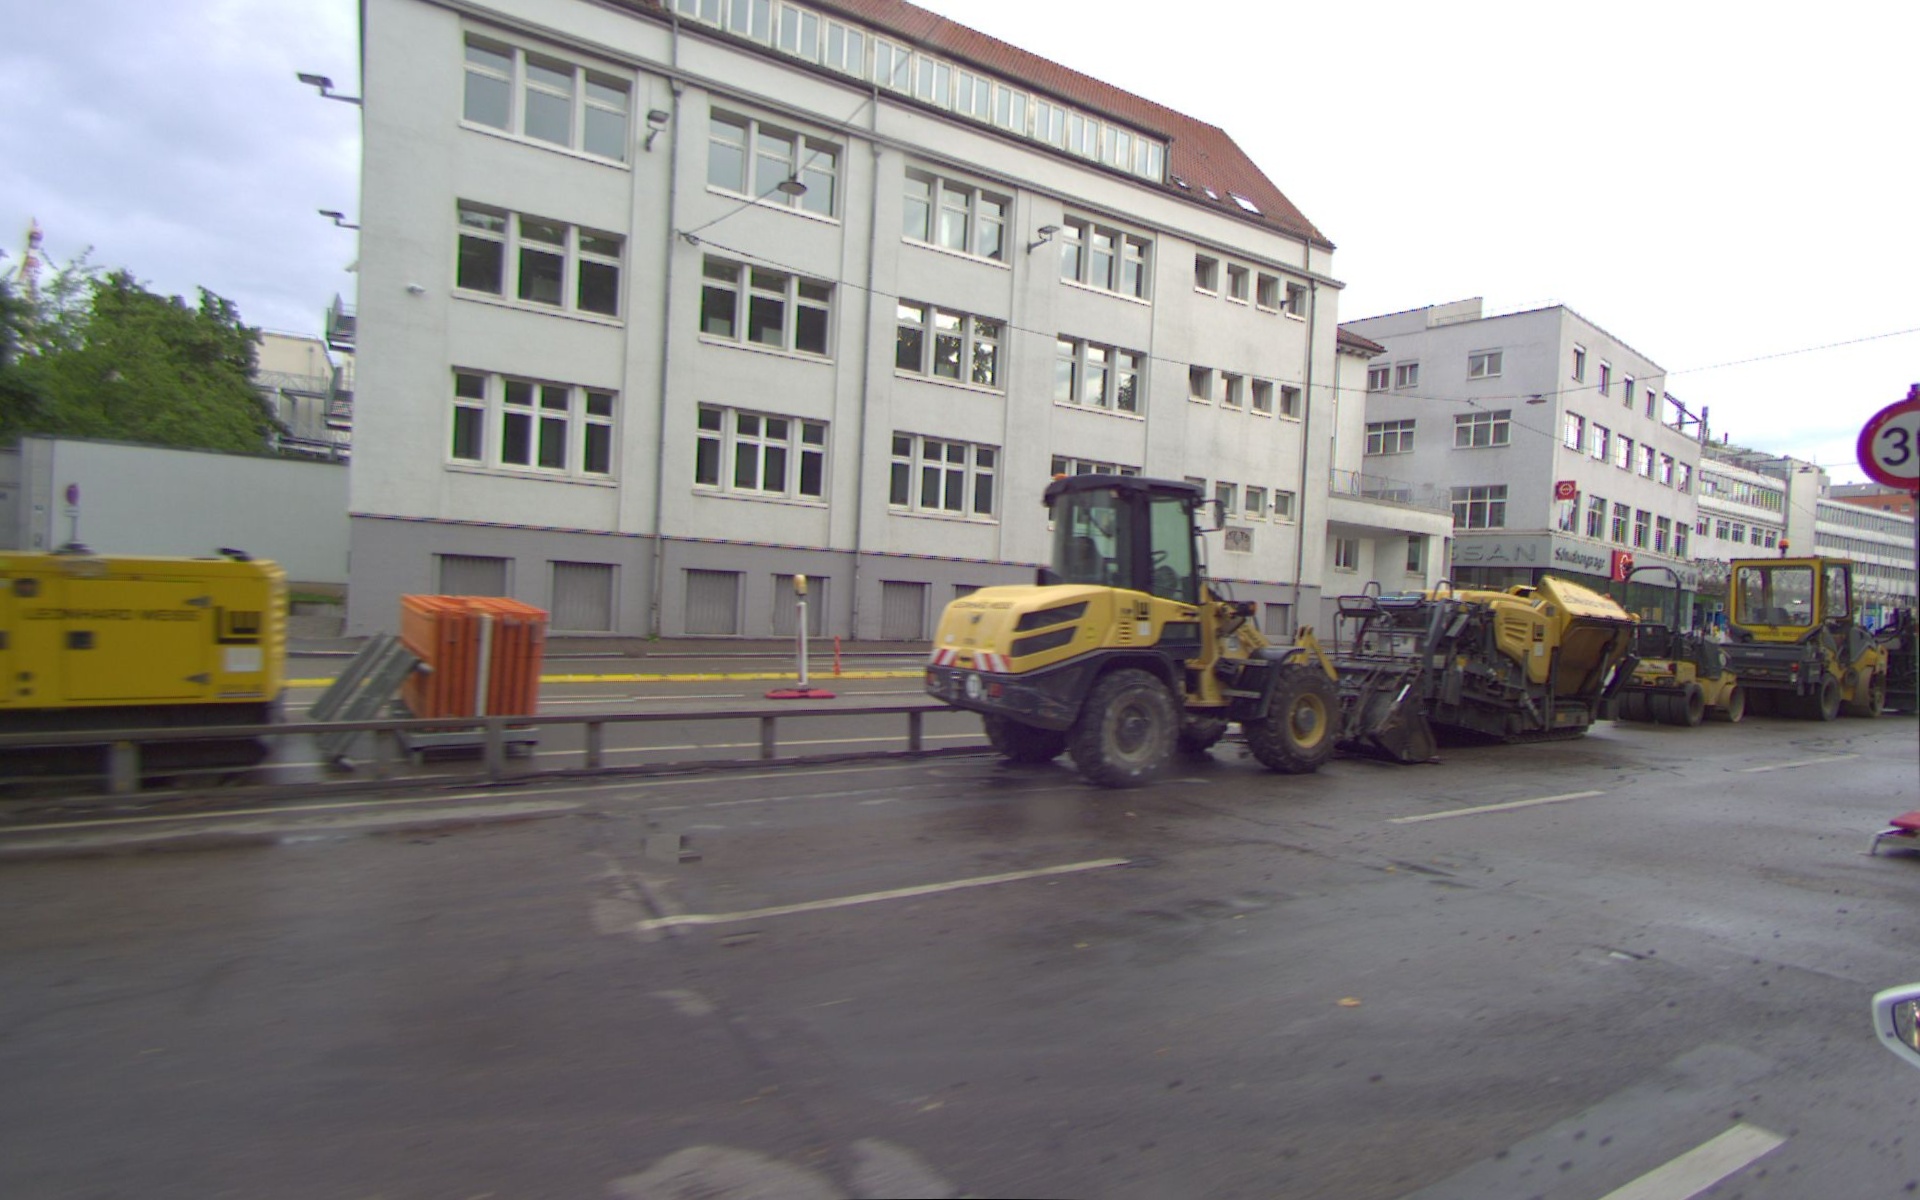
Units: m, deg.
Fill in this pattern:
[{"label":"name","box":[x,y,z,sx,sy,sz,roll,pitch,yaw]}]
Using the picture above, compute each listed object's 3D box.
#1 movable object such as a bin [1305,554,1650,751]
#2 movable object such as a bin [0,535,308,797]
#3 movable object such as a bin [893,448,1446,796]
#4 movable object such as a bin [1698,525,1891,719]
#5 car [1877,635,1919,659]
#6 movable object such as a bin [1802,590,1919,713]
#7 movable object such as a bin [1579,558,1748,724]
[{"label":"movable object such as a bin","box":[6.640,0.623,12.659,4.970,2.118,1.356,2,1,-30]},{"label":"movable object such as a bin","box":[-6.051,0.415,7.011,2.410,1.666,1.078,2,1,-31]},{"label":"movable object such as a bin","box":[2.177,0.224,9.792,5.319,2.644,1.893,2,1,-30]},{"label":"movable object such as a bin","box":[14.456,0.403,17.369,3.682,3.048,1.458,2,-1,-32]},{"label":"car","box":[60.920,3.048,64.665,4.205,1.424,1.752,3,-1,-33]},{"label":"movable object such as a bin","box":[17.998,0.962,19.464,3.314,2.178,1.705,2,-1,-33]},{"label":"movable object such as a bin","box":[11.176,0.632,15.947,2.380,2.433,1.402,2,-1,-33]}]
